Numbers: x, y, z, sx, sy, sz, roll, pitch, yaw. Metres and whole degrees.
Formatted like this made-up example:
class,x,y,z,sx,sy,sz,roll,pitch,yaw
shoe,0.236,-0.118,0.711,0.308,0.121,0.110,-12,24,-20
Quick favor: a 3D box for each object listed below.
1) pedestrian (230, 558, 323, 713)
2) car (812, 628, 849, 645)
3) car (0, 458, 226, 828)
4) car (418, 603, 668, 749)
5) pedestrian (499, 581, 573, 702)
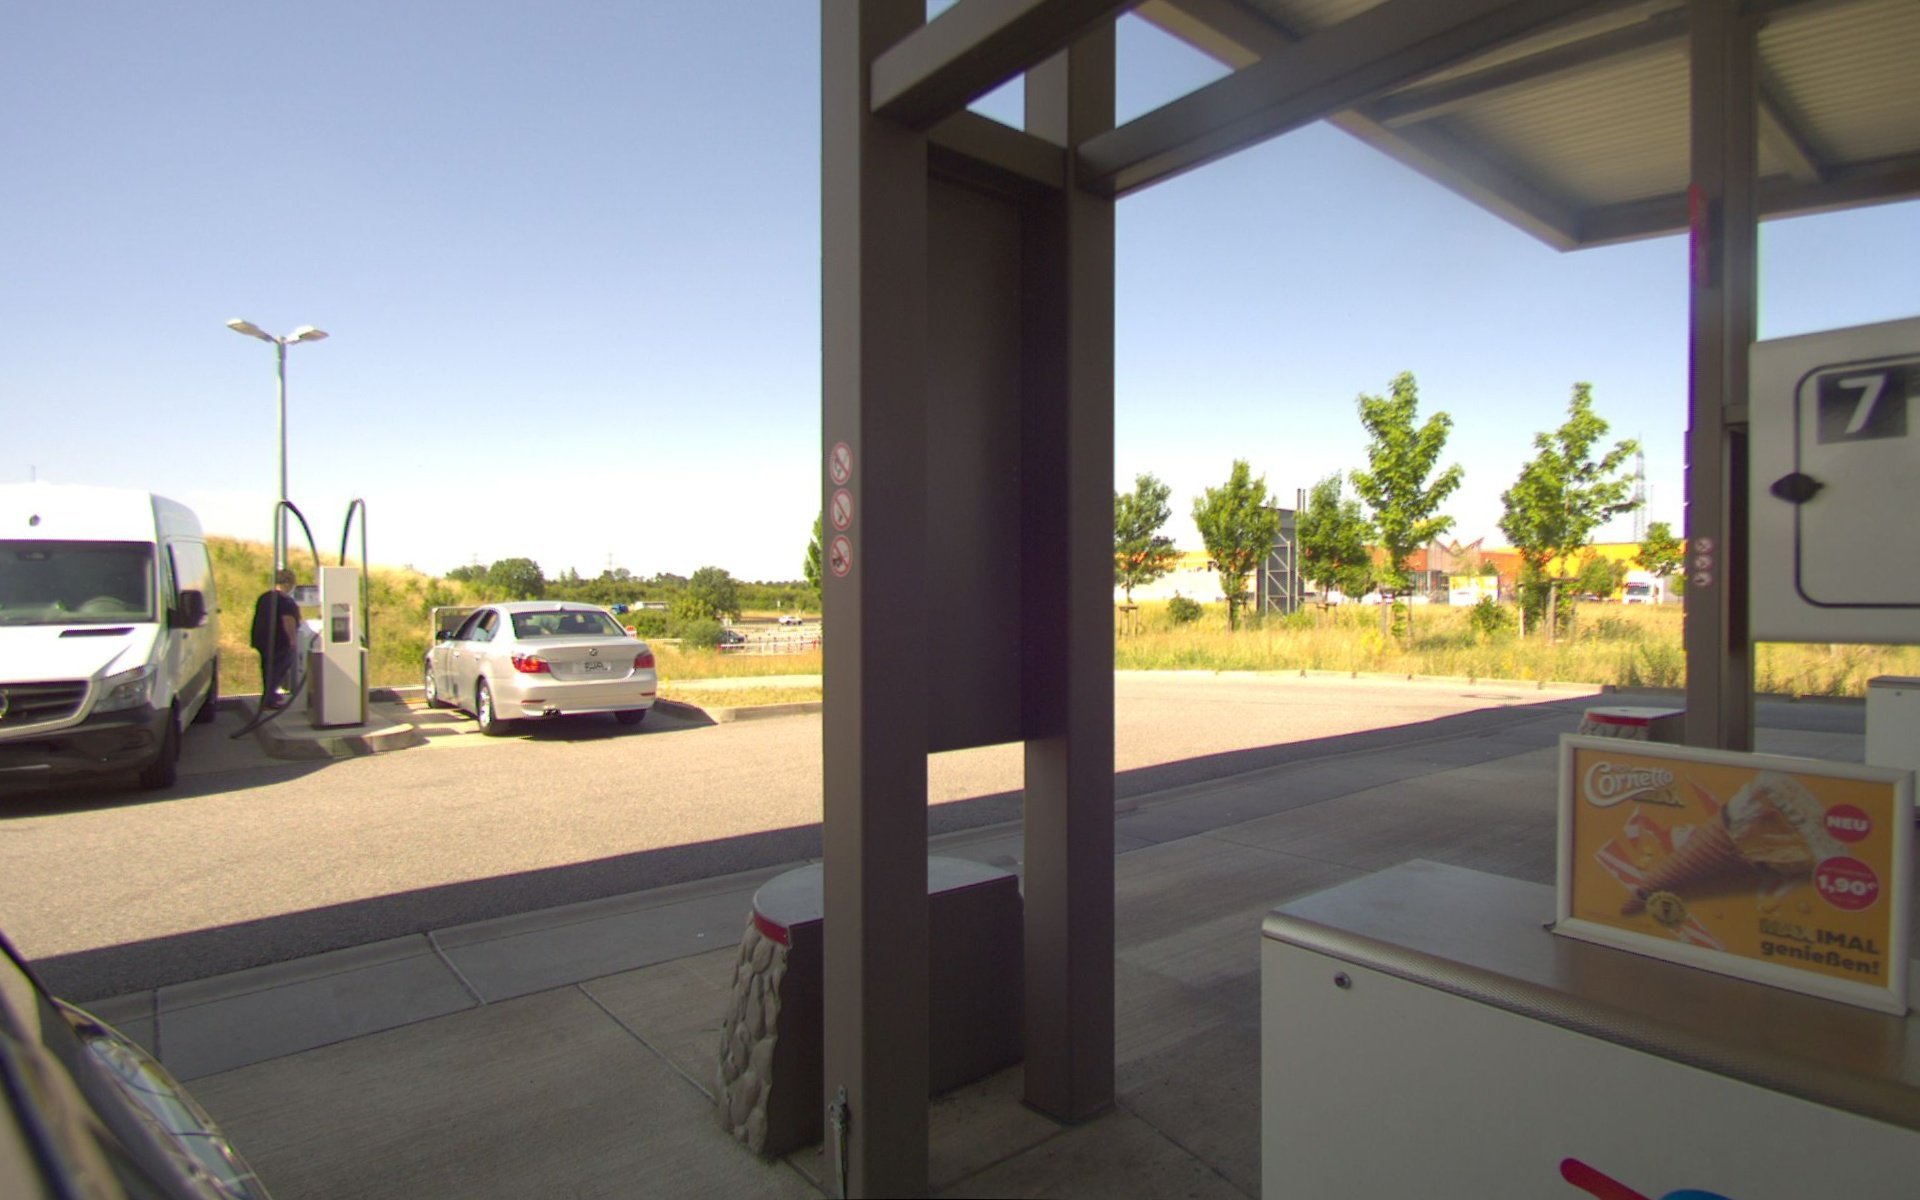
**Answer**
class,x,y,z,sx,sy,sz,roll,pitch,yaw
pedestrian,-8.207,0.412,12.183,0.697,1.783,0.847,0,-1,-17
car,-12.703,3.585,99.350,1.866,1.530,4.008,0,-1,-37
car,-8.707,0.217,9.972,1.966,2.590,7.051,0,1,-33
car,-5.303,0.775,12.524,1.764,1.439,4.331,0,0,-38
pedestrian,-6.423,0.610,15.330,0.843,1.762,0.701,-1,-1,35
